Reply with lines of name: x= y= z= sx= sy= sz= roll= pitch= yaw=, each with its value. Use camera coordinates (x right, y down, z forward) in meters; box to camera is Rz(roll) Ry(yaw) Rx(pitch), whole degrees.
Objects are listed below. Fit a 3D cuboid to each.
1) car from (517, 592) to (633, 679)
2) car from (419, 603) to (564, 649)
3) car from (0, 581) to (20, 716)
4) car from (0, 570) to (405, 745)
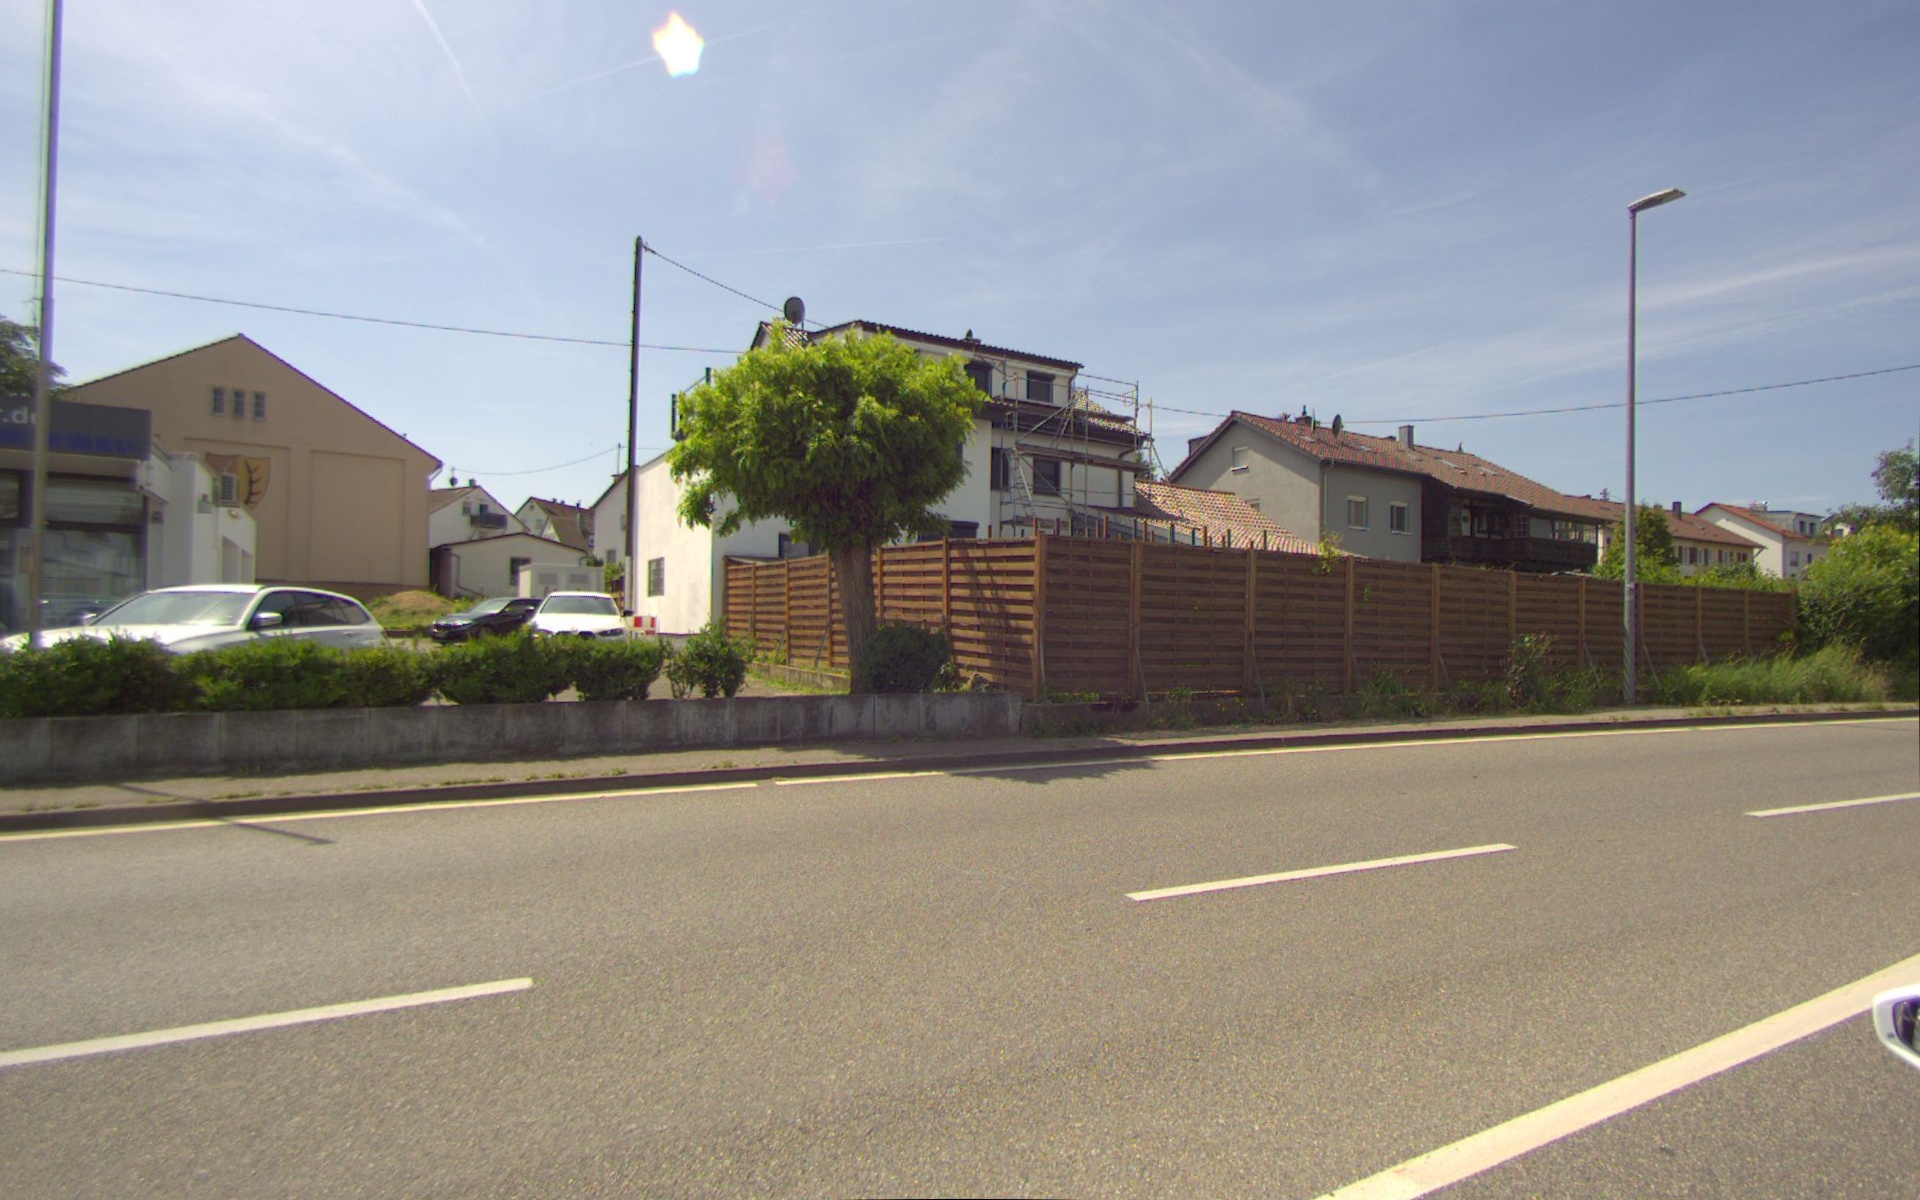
car: x=-7.449 y=0.634 z=19.764 sx=1.805 sy=1.530 sz=3.985 roll=1 pitch=0 yaw=-17
car: x=-14.469 y=0.756 z=31.255 sx=1.756 sy=1.238 sz=3.999 roll=2 pitch=1 yaw=21
car: x=-11.214 y=0.488 z=8.913 sx=1.863 sy=1.467 sz=4.339 roll=2 pitch=0 yaw=-5
car: x=-7.990 y=0.503 z=10.852 sx=1.822 sy=1.467 sz=4.339 roll=2 pitch=0 yaw=-5
